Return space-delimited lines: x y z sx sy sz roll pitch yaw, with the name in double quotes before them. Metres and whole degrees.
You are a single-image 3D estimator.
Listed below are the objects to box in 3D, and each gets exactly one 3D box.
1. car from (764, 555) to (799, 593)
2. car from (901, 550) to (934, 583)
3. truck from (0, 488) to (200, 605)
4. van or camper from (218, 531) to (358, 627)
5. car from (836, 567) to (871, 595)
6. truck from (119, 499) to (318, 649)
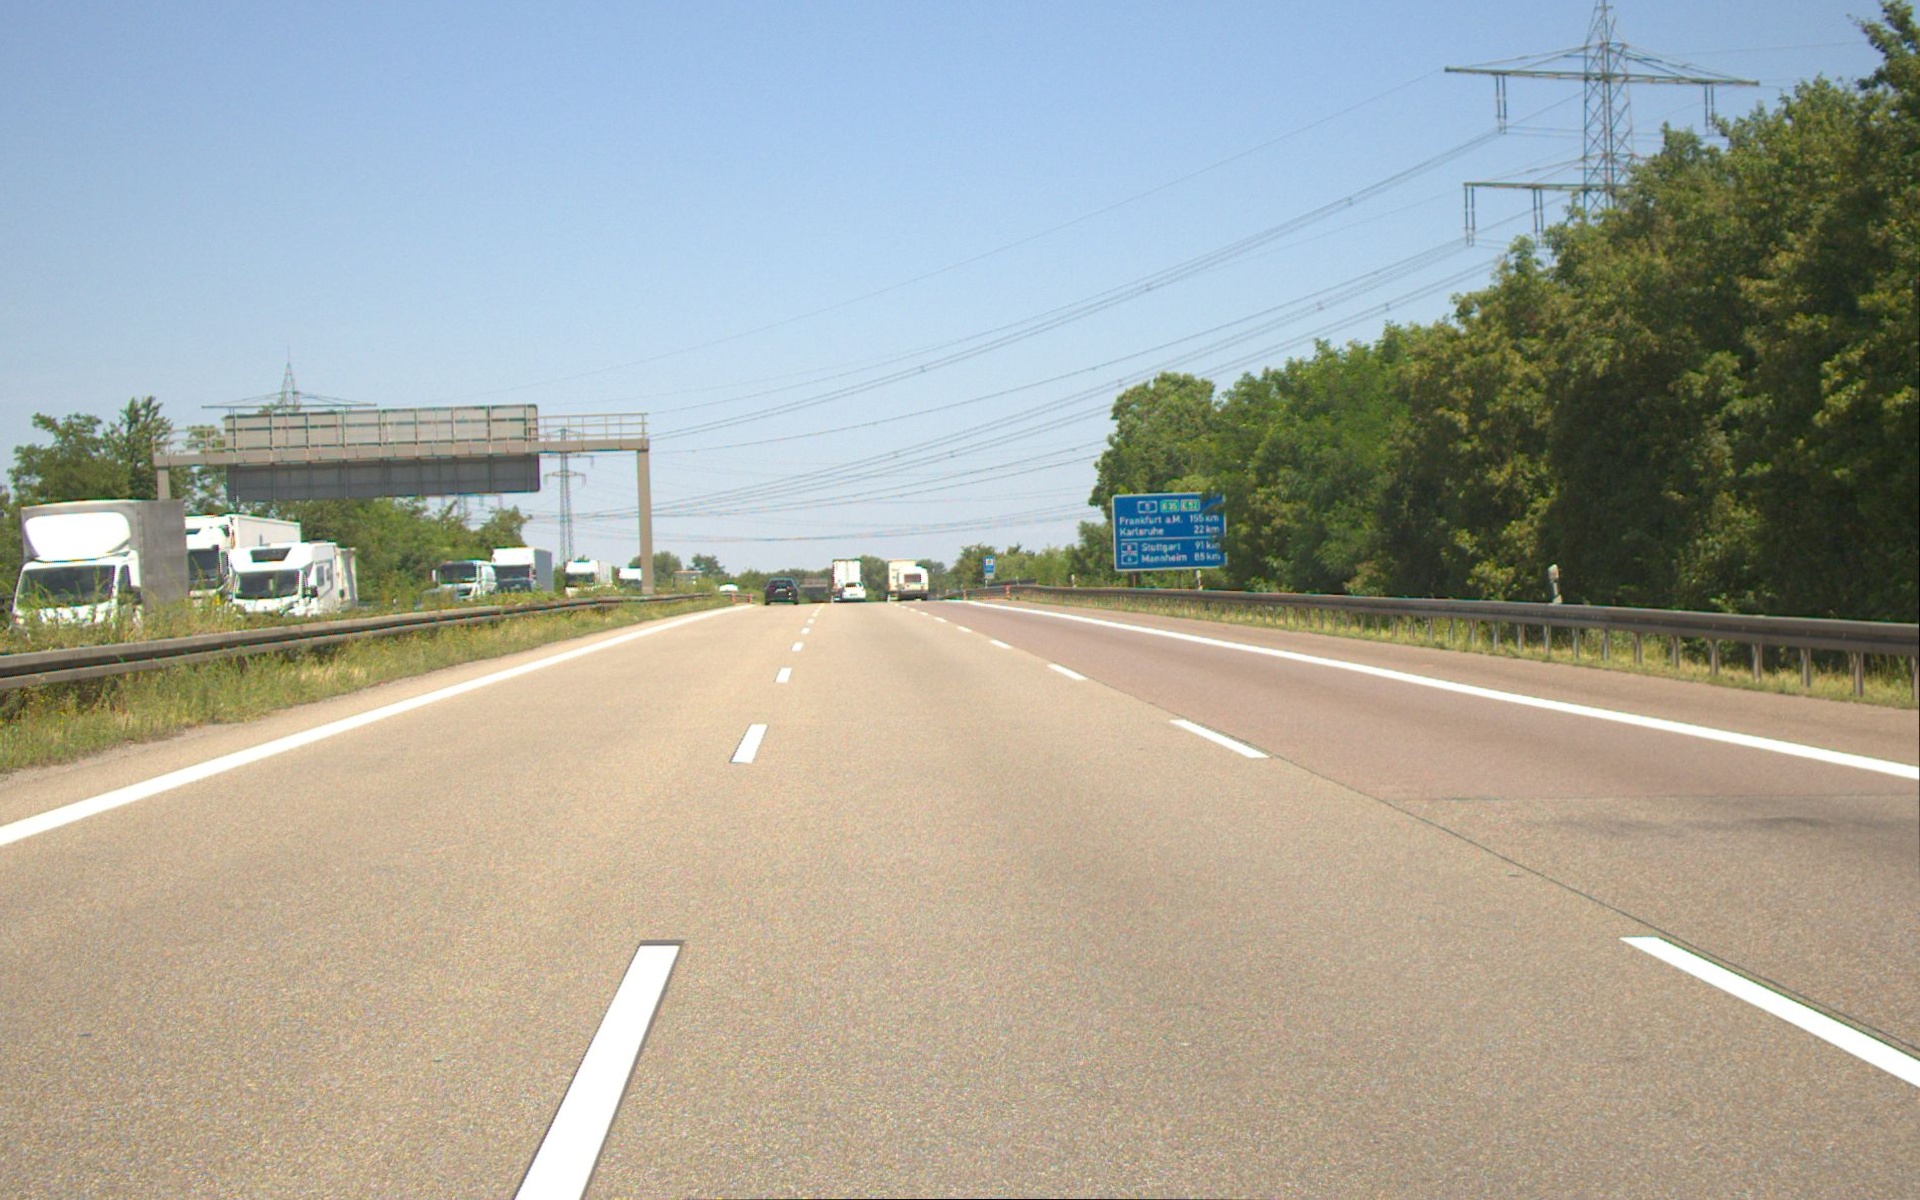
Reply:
"car" -9.598 -1.428 184.798 1.791 2.007 3.888 0 1 -2
"car" -2.737 -2.153 221.725 1.993 2.007 4.000 -2 0 -2
"truck" -16.741 -1.004 65.993 2.729 2.060 7.138 -2 1 -1
"van or camper" -19.156 -0.635 98.409 2.468 2.551 7.809 -2 1 -1
"car" -7.719 -1.401 249.897 2.177 1.923 4.611 -2 0 2
"truck" -24.440 -0.904 114.482 3.216 4.362 17.194 -5 1 -2
